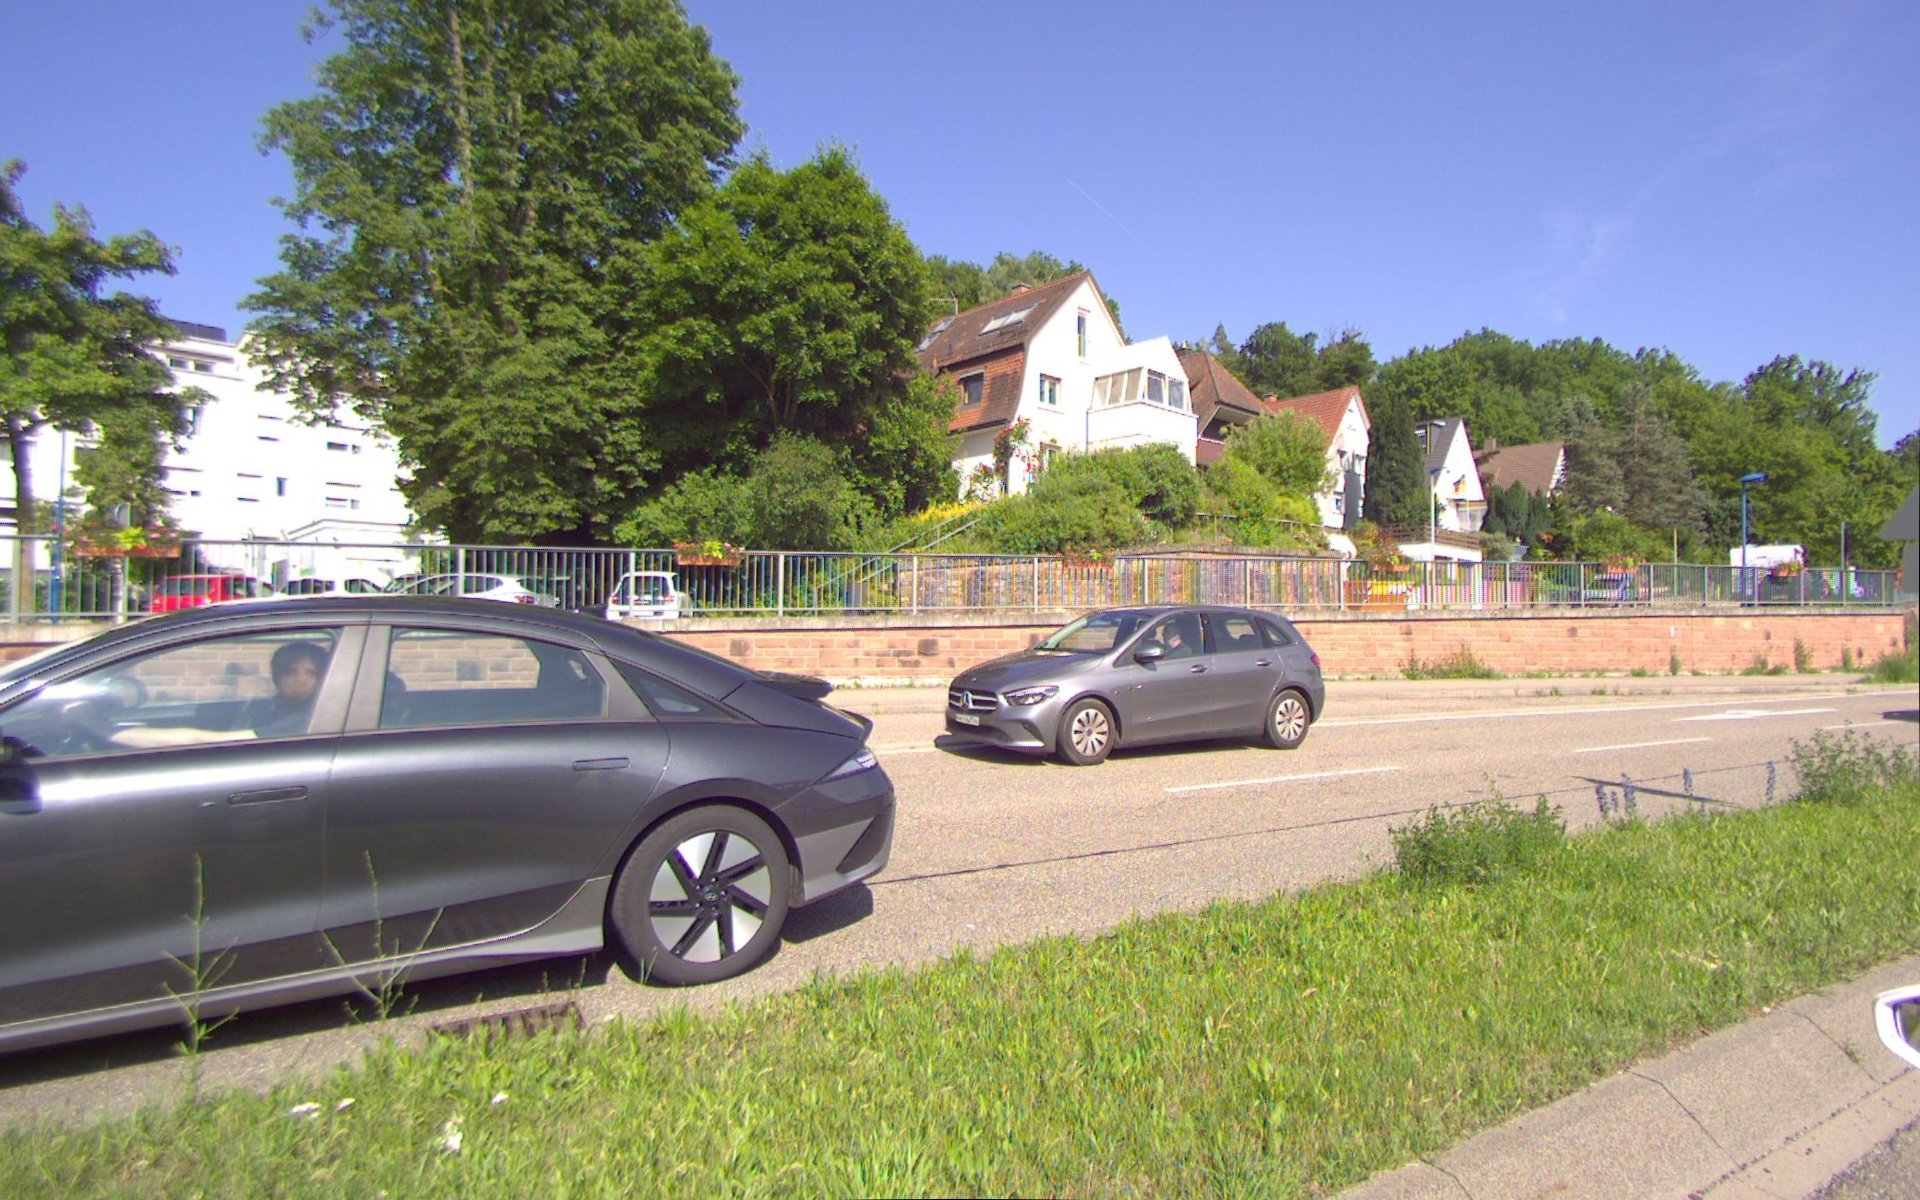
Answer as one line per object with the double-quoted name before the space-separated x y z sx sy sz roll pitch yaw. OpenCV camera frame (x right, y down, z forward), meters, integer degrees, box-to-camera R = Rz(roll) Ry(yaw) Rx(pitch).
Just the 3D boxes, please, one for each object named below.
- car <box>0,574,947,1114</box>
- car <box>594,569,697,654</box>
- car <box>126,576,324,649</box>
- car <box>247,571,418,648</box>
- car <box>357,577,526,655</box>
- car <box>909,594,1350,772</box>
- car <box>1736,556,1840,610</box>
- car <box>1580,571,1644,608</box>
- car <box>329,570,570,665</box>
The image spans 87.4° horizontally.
"car" -2.498 0.683 3.911 4.663 1.490 1.782 1 0 -32
"car" -7.620 0.210 24.683 1.879 1.901 3.993 0 1 -9
"car" -17.433 0.231 24.098 1.877 1.581 3.998 1 1 -2
"car" -15.037 0.159 24.354 1.877 1.724 3.996 0 2 -5
"car" -12.180 0.300 23.930 1.961 1.694 3.999 1 1 0
"car" 1.877 0.767 10.891 4.453 1.585 1.985 1 0 -28
"car" 31.778 -0.665 38.511 4.686 1.946 2.006 0 2 -37
"car" 31.224 -0.465 48.048 1.875 1.651 3.976 0 -1 44
"car" -10.351 0.364 20.611 3.922 1.813 1.921 1 -1 -2
